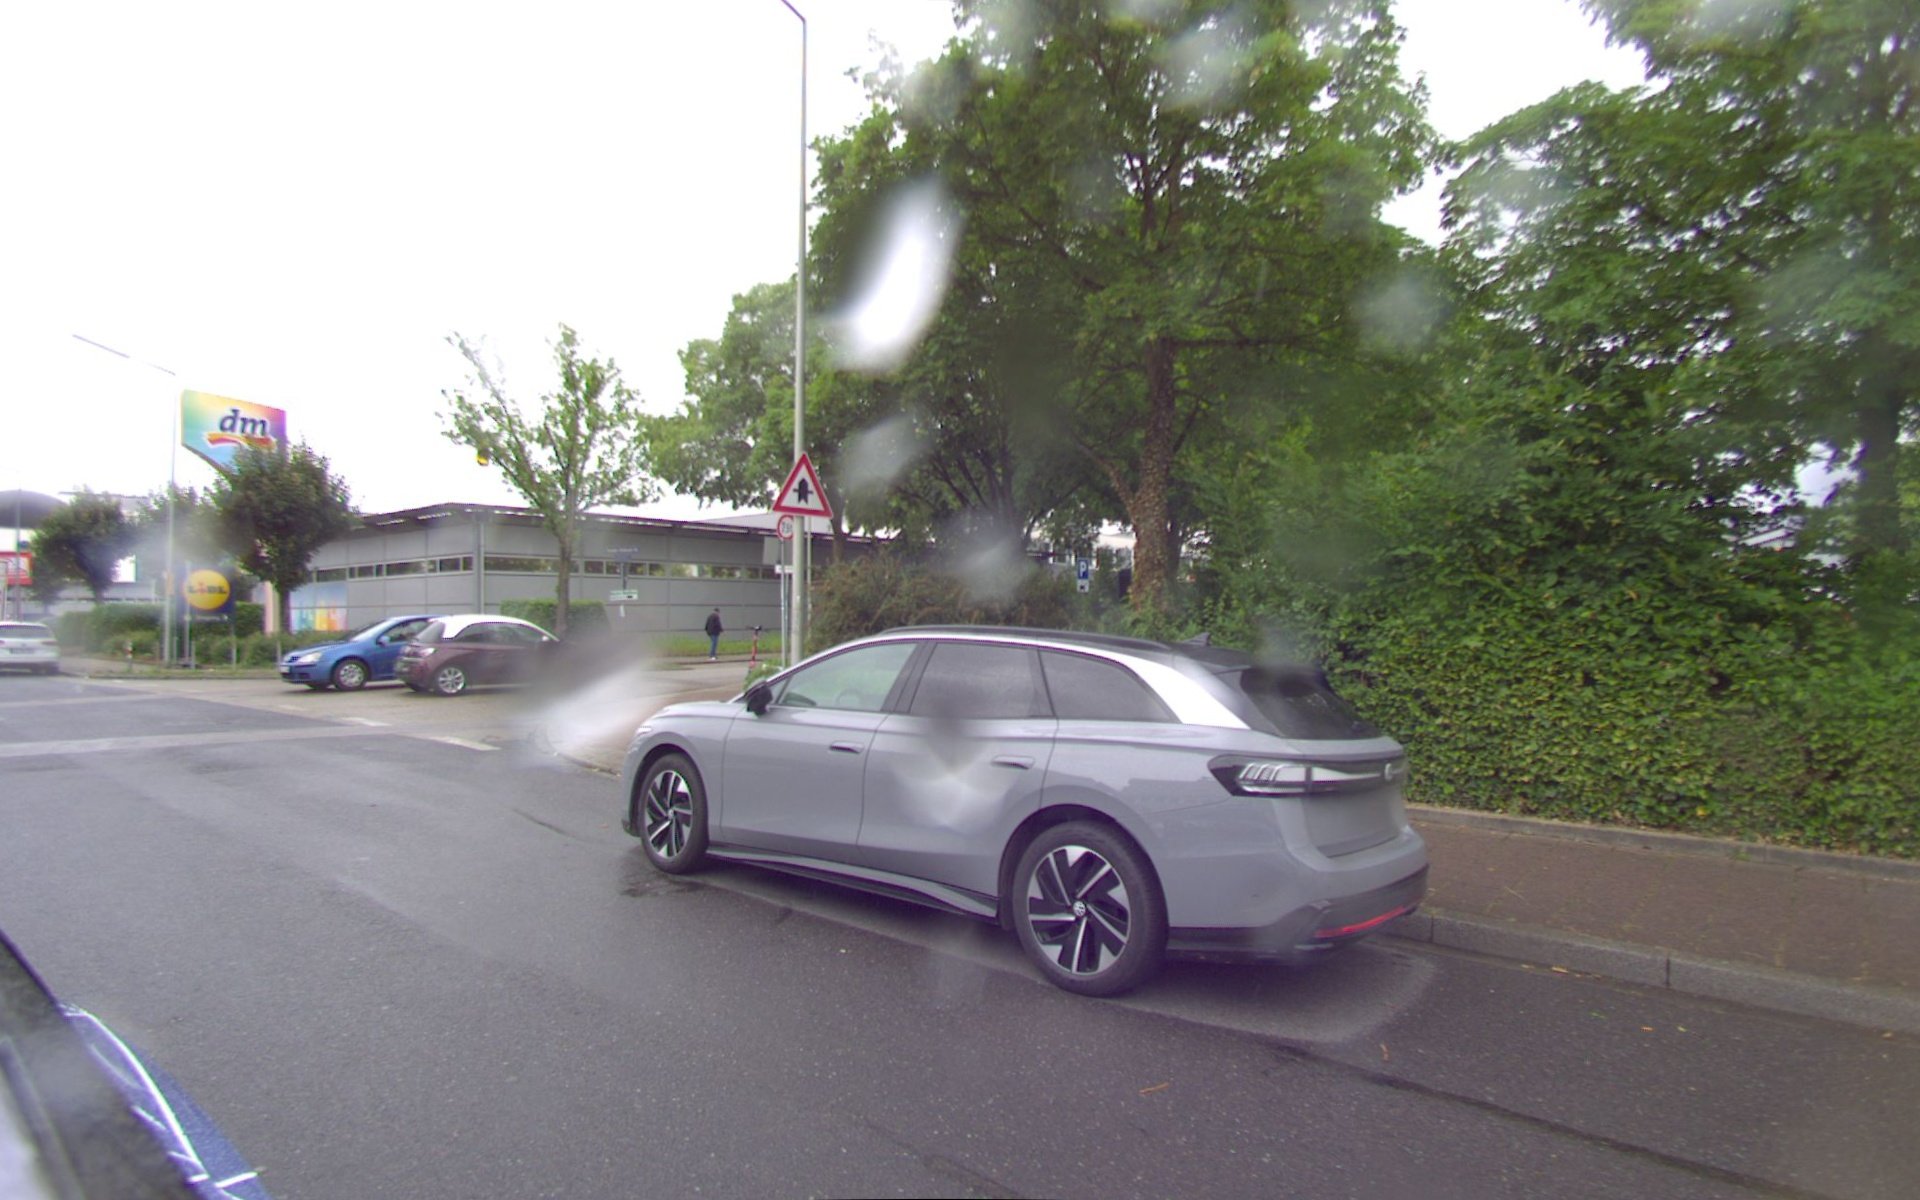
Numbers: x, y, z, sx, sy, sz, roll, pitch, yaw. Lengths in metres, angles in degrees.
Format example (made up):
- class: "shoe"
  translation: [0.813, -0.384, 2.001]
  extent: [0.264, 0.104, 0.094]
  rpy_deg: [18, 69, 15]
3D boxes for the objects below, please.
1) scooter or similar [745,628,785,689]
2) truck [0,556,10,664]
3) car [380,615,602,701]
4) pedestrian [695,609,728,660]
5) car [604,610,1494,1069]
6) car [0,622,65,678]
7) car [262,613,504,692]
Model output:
- class: "scooter or similar"
  translation: [-3.951, 1.171, 20.450]
  extent: [0.280, 1.184, 1.061]
  rpy_deg: [1, -2, -43]
- class: "truck"
  translation: [-37.509, 0.394, 37.251]
  extent: [7.862, 3.775, 2.852]
  rpy_deg: [-1, -2, 41]
- class: "car"
  translation: [-8.942, 1.040, 19.449]
  extent: [1.639, 1.466, 3.525]
  rpy_deg: [-1, -1, 45]
- class: "pedestrian"
  translation: [-8.260, 1.133, 33.623]
  extent: [0.757, 1.686, 0.772]
  rpy_deg: [-1, -2, 37]
- class: "car"
  translation: [0.165, 0.896, 5.647]
  extent: [4.743, 1.540, 1.791]
  rpy_deg: [-1, -5, 39]
- class: "car"
  translation: [-26.481, 1.349, 28.075]
  extent: [4.488, 1.445, 1.817]
  rpy_deg: [-1, -3, 40]
- class: "car"
  translation: [-11.678, 1.029, 20.698]
  extent: [1.734, 1.452, 3.947]
  rpy_deg: [-2, -3, 39]
